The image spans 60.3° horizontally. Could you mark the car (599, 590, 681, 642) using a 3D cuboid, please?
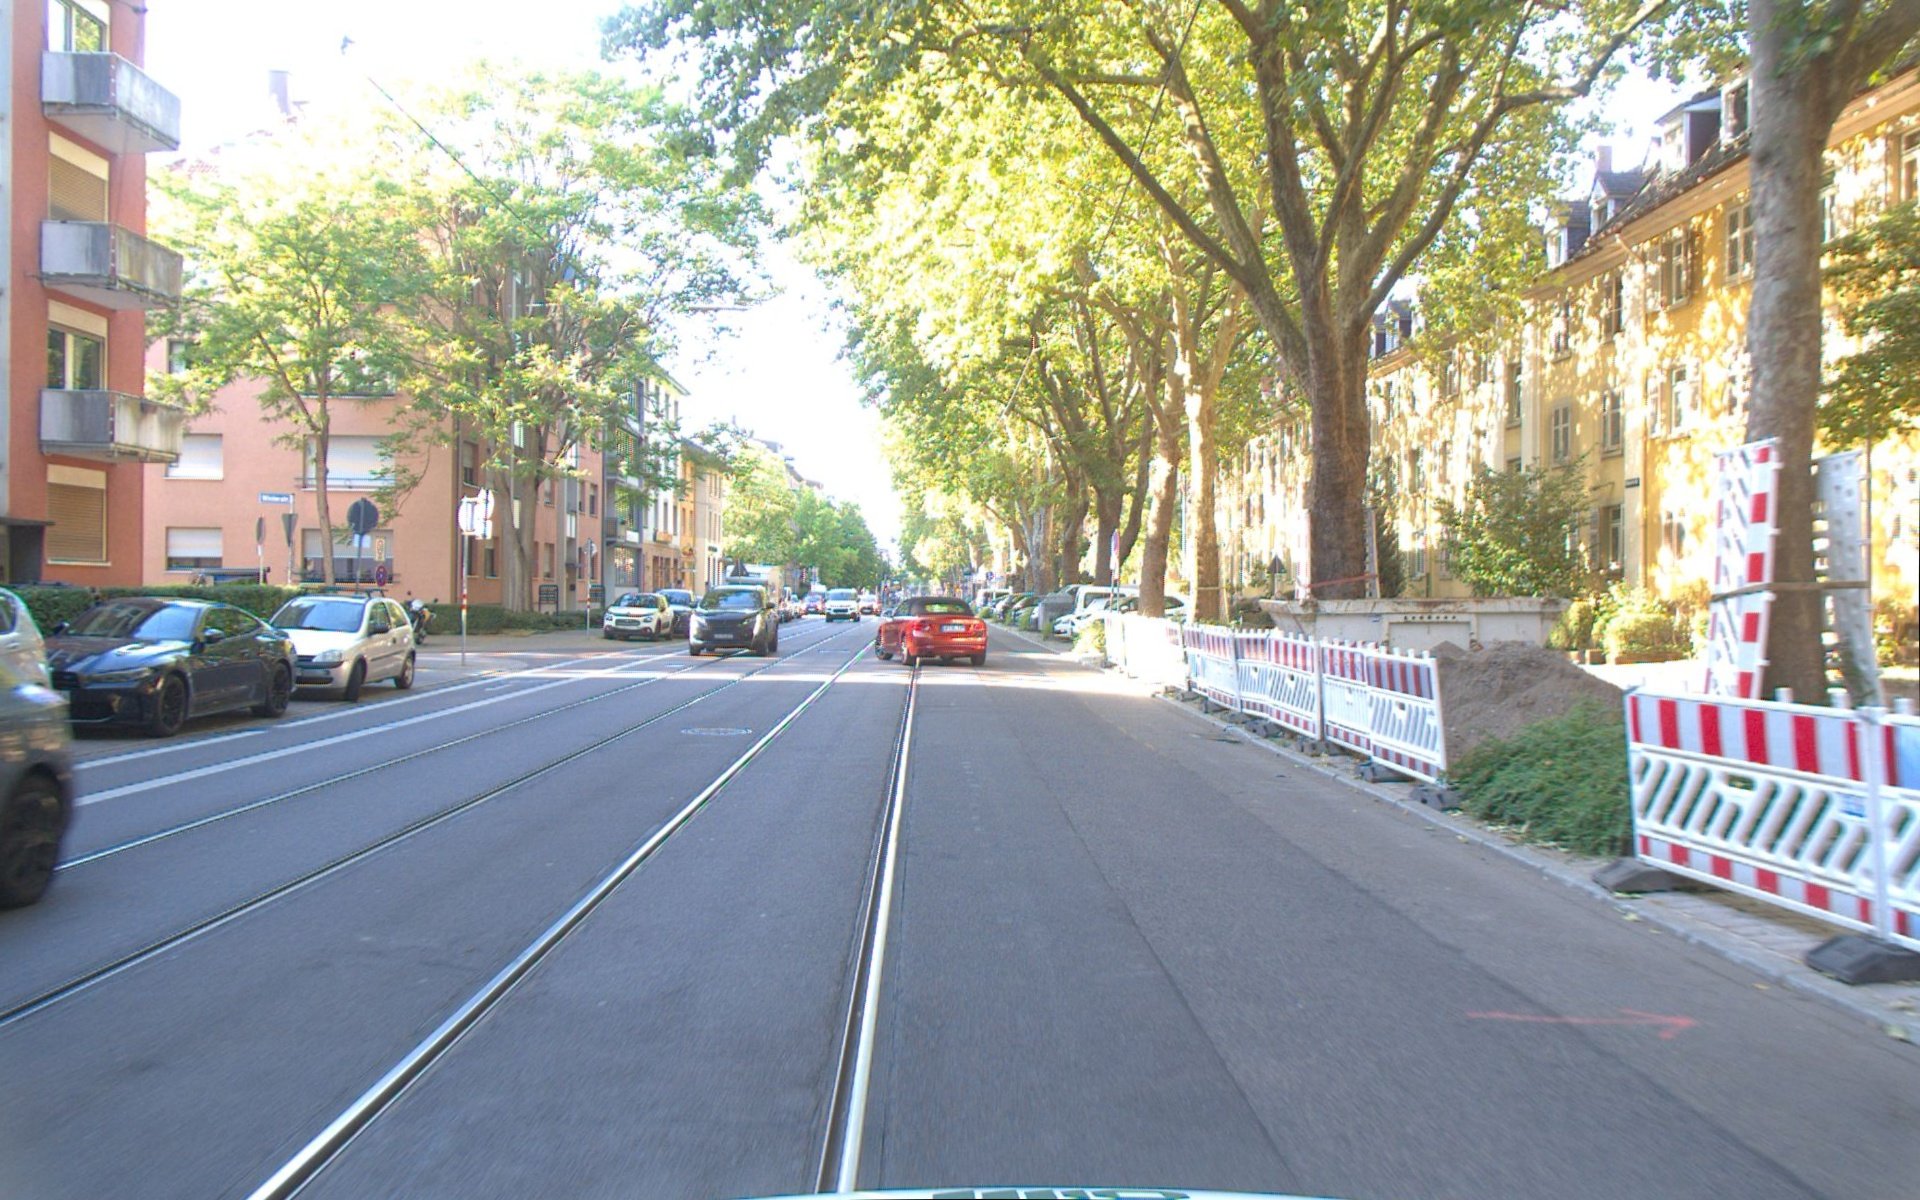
[{"bbox_3d":[-10.166,0.505,52.756,1.769,1.504,4.089,3,0,0],"label":"car"}]

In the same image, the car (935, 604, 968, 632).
[{"bbox_3d":[-0.532,1.087,100.609,1.879,1.612,3.790,-1,0,-2],"label":"car"}]

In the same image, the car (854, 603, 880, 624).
[{"bbox_3d":[-6.653,0.952,118.521,1.740,1.483,4.201,-1,0,-1],"label":"car"}]

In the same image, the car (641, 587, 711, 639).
[{"bbox_3d":[-9.930,0.428,58.175,1.745,1.638,4.586,3,0,-2],"label":"car"}]

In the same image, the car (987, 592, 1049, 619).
[{"bbox_3d":[3.739,0.361,107.153,3.845,1.699,1.960,0,0,-3],"label":"car"}]

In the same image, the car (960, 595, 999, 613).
[{"bbox_3d":[1.999,0.394,171.215,3.906,1.816,2.000,0,0,-1],"label":"car"}]

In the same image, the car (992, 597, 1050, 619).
[{"bbox_3d":[3.869,0.507,104.932,3.575,1.402,1.889,0,0,-1],"label":"car"}]

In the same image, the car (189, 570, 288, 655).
[{"bbox_3d":[-19.428,0.334,44.448,1.972,2.160,4.677,1,0,-29],"label":"car"}]

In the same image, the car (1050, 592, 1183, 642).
[{"bbox_3d":[5.101,0.547,54.309,4.279,1.569,1.802,0,1,2],"label":"car"}]

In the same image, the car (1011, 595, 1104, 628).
[{"bbox_3d":[4.485,0.531,76.666,4.161,1.509,1.897,0,0,-2],"label":"car"}]

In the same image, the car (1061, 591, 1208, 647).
[{"bbox_3d":[5.019,0.547,47.999,4.006,1.548,1.915,0,-1,-3],"label":"car"}]

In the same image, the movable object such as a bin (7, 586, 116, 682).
[{"bbox_3d":[-13.184,0.485,24.281,1.186,1.389,0.747,0,0,0],"label":"movable object such as a bin"}]

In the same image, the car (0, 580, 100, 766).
[{"bbox_3d":[-9.244,0.619,14.179,1.783,1.614,4.003,1,0,-3],"label":"car"}]

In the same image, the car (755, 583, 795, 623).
[{"bbox_3d":[-10.902,0.150,97.850,1.914,2.127,5.246,3,1,-3],"label":"car"}]

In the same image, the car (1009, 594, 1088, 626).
[{"bbox_3d":[4.290,0.494,80.569,3.760,1.536,1.710,0,0,-2],"label":"car"}]

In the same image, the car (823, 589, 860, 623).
[{"bbox_3d":[-6.621,0.337,93.080,1.853,1.864,4.894,0,0,-1],"label":"car"}]

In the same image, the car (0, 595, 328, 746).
[{"bbox_3d":[-9.207,0.706,19.094,1.913,1.419,4.862,3,0,0],"label":"car"}]

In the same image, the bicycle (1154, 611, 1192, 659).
[{"bbox_3d":[5.048,0.817,39.294,0.622,1.089,1.808,0,0,-1],"label":"bicycle"}]

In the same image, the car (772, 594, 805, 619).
[{"bbox_3d":[-11.221,0.382,108.383,1.800,1.494,5.066,3,0,-3],"label":"car"}]

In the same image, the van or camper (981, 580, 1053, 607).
[{"bbox_3d":[4.495,-0.528,131.243,5.448,2.048,2.242,0,3,-6],"label":"van or camper"}]

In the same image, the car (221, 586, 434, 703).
[{"bbox_3d":[-9.217,0.598,24.434,1.690,1.509,3.928,3,0,-2],"label":"car"}]

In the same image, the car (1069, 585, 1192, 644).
[{"bbox_3d":[5.345,0.441,52.289,3.764,1.803,1.917,0,0,2],"label":"car"}]

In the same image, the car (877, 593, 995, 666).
[{"bbox_3d":[-0.588,0.596,35.862,1.761,1.413,4.224,2,0,-12],"label":"car"}]

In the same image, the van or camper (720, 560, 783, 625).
[{"bbox_3d":[-10.680,-0.378,85.184,2.290,3.094,6.396,3,0,0],"label":"van or camper"}]

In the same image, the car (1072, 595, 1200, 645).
[{"bbox_3d":[5.324,0.604,50.326,3.764,1.458,1.852,0,0,2],"label":"car"}]

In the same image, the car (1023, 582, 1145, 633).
[{"bbox_3d":[5.057,0.298,67.777,4.740,1.997,2.063,0,0,-4],"label":"car"}]

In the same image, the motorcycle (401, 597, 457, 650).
[{"bbox_3d":[-14.398,0.613,44.903,0.884,1.303,2.347,0,2,-3],"label":"motorcycle"}]

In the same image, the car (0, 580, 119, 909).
[{"bbox_3d":[-5.167,0.663,6.426,1.759,1.471,4.052,-1,0,-1],"label":"car"}]

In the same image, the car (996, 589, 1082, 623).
[{"bbox_3d":[4.148,0.310,87.024,4.402,1.630,2.028,-2,0,2],"label":"car"}]

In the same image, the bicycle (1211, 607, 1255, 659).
[{"bbox_3d":[6.431,0.766,39.100,0.676,1.174,1.948,0,0,-1],"label":"bicycle"}]

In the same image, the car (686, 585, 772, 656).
[{"bbox_3d":[-5.536,0.450,40.059,1.817,1.628,4.459,0,0,-5],"label":"car"}]

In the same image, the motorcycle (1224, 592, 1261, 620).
[{"bbox_3d":[14.484,0.310,84.799,1.768,1.385,0.622,-3,0,-4],"label":"motorcycle"}]
